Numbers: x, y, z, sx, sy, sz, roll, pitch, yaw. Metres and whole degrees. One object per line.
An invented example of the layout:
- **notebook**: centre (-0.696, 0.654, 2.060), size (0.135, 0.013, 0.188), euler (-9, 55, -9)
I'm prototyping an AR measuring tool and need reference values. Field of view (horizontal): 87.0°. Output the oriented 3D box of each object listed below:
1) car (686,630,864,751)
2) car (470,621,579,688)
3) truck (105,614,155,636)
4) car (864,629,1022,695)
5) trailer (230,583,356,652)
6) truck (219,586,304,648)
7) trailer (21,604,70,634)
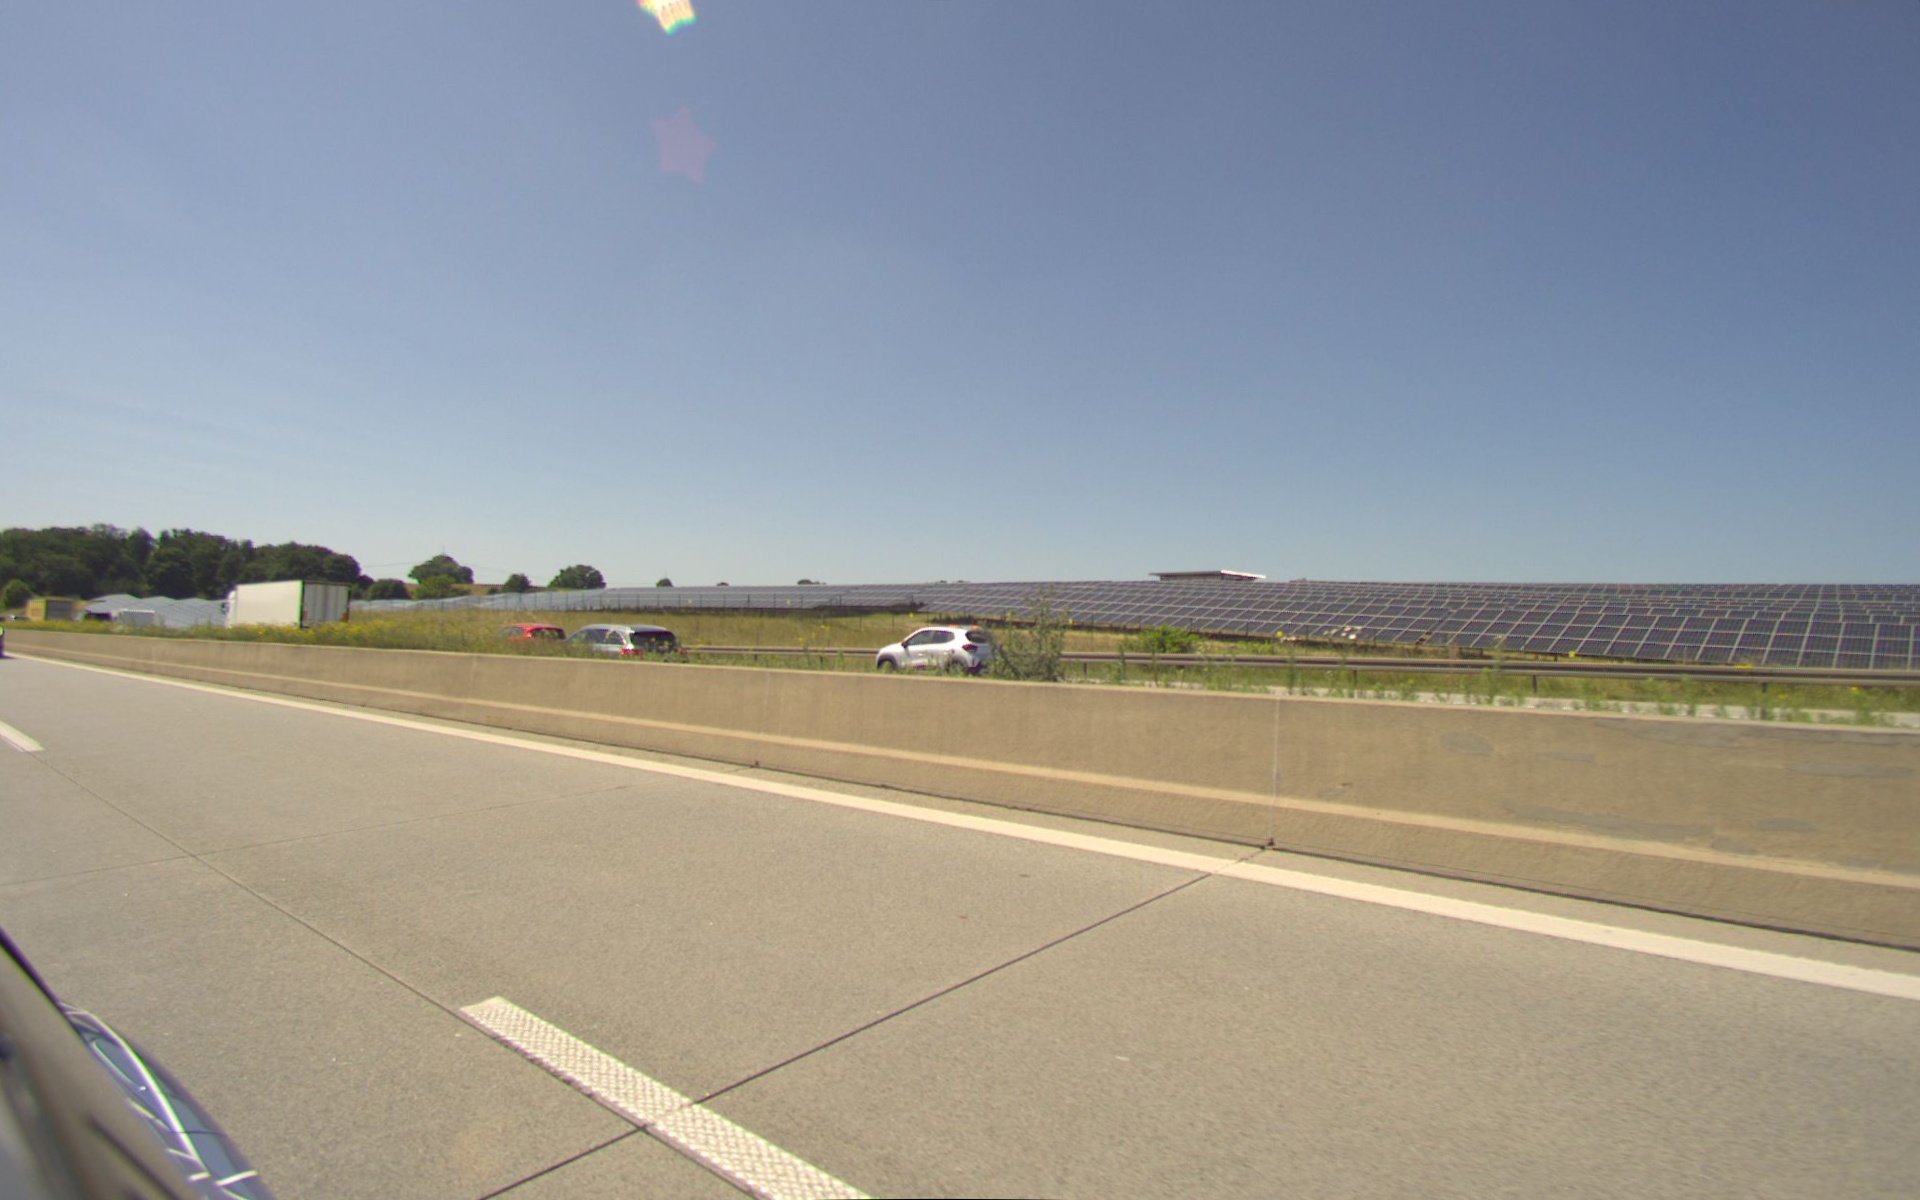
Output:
- **car**: centre (-3.591, 1.632, 19.400), size (3.388, 2.029, 1.607), euler (-1, -1, 41)
- **car**: centre (-14.467, 1.740, 33.519), size (3.998, 2.029, 1.781), euler (-1, -1, 41)
- **truck**: centre (-78.886, 2.358, 96.153), size (7.626, 2.029, 2.491), euler (-1, -1, 41)
- **car**: centre (-0.495, 1.510, 25.731), size (3.998, 1.493, 1.609), euler (-1, -1, 41)
- **trailer**: centre (-42.853, 1.078, 64.704), size (14.134, 4.035, 3.058), euler (-1, -1, 41)
- **truck**: centre (-47.524, 1.130, 68.794), size (7.251, 4.035, 3.058), euler (-1, -1, 41)
- **trailer**: centre (-116.978, 2.429, 129.321), size (14.013, 3.578, 2.901), euler (-1, -3, 41)
